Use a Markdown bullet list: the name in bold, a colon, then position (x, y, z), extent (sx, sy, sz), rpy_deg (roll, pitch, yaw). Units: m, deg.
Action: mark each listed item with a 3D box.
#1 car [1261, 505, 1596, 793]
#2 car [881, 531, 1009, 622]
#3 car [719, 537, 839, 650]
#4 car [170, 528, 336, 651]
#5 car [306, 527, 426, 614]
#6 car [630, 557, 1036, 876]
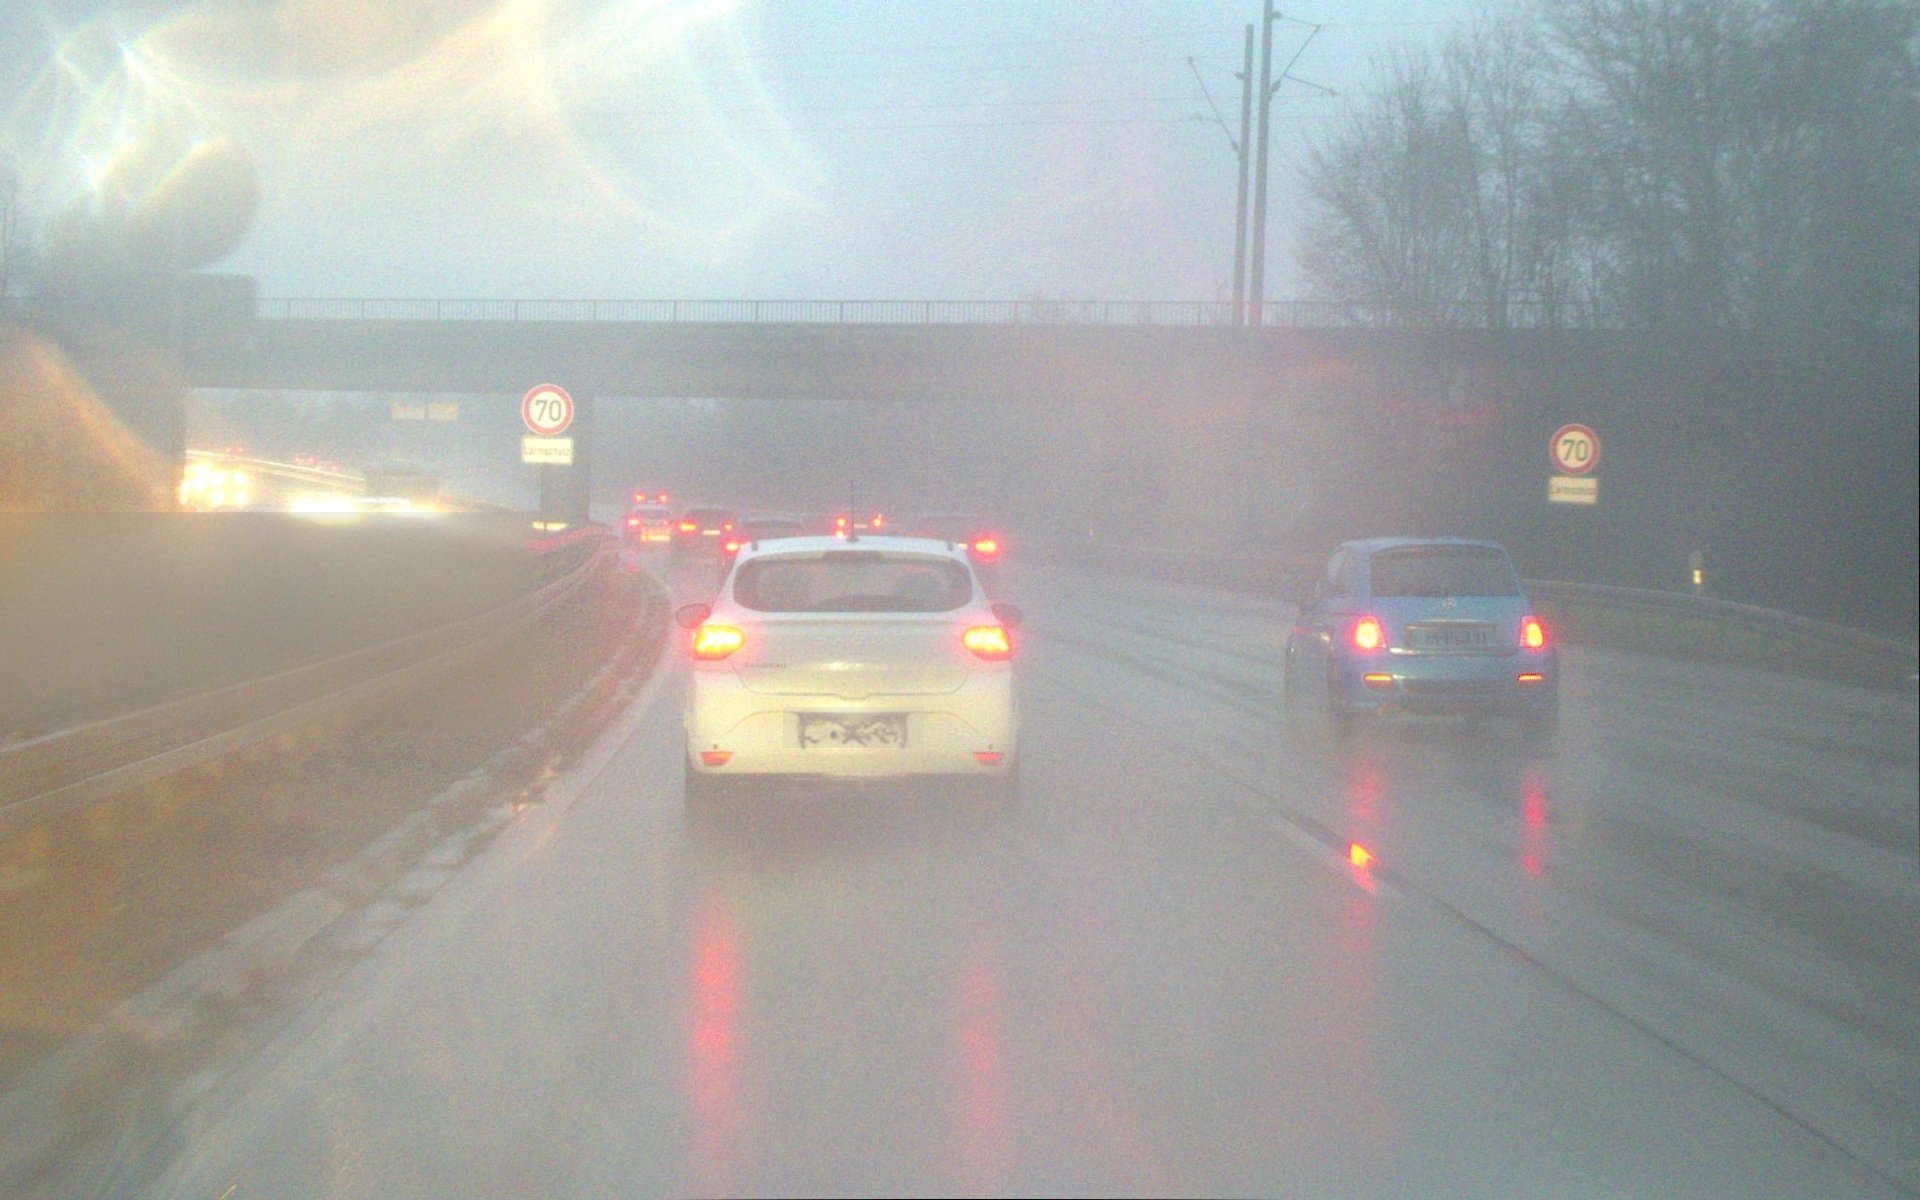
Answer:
- **car**: position (3.512, 0.337, 26.445), extent (1.932, 2.012, 3.774), rpy_deg (1, 0, -1)
- **car**: position (-0.325, -0.449, 67.856), extent (1.932, 1.541, 3.774), rpy_deg (-4, -1, -8)
- **car**: position (-3.421, -0.128, 64.431), extent (1.993, 2.007, 4.001), rpy_deg (1, 0, -6)
- **car**: position (-10.289, -0.166, 50.268), extent (1.766, 1.678, 4.000), rpy_deg (1, 0, -3)
- **car**: position (-13.212, -0.653, 76.747), extent (1.987, 1.824, 5.120), rpy_deg (1, 0, -3)
- **car**: position (-0.619, 0.579, 19.466), extent (2.025, 1.569, 4.000), rpy_deg (1, 0, 1)
